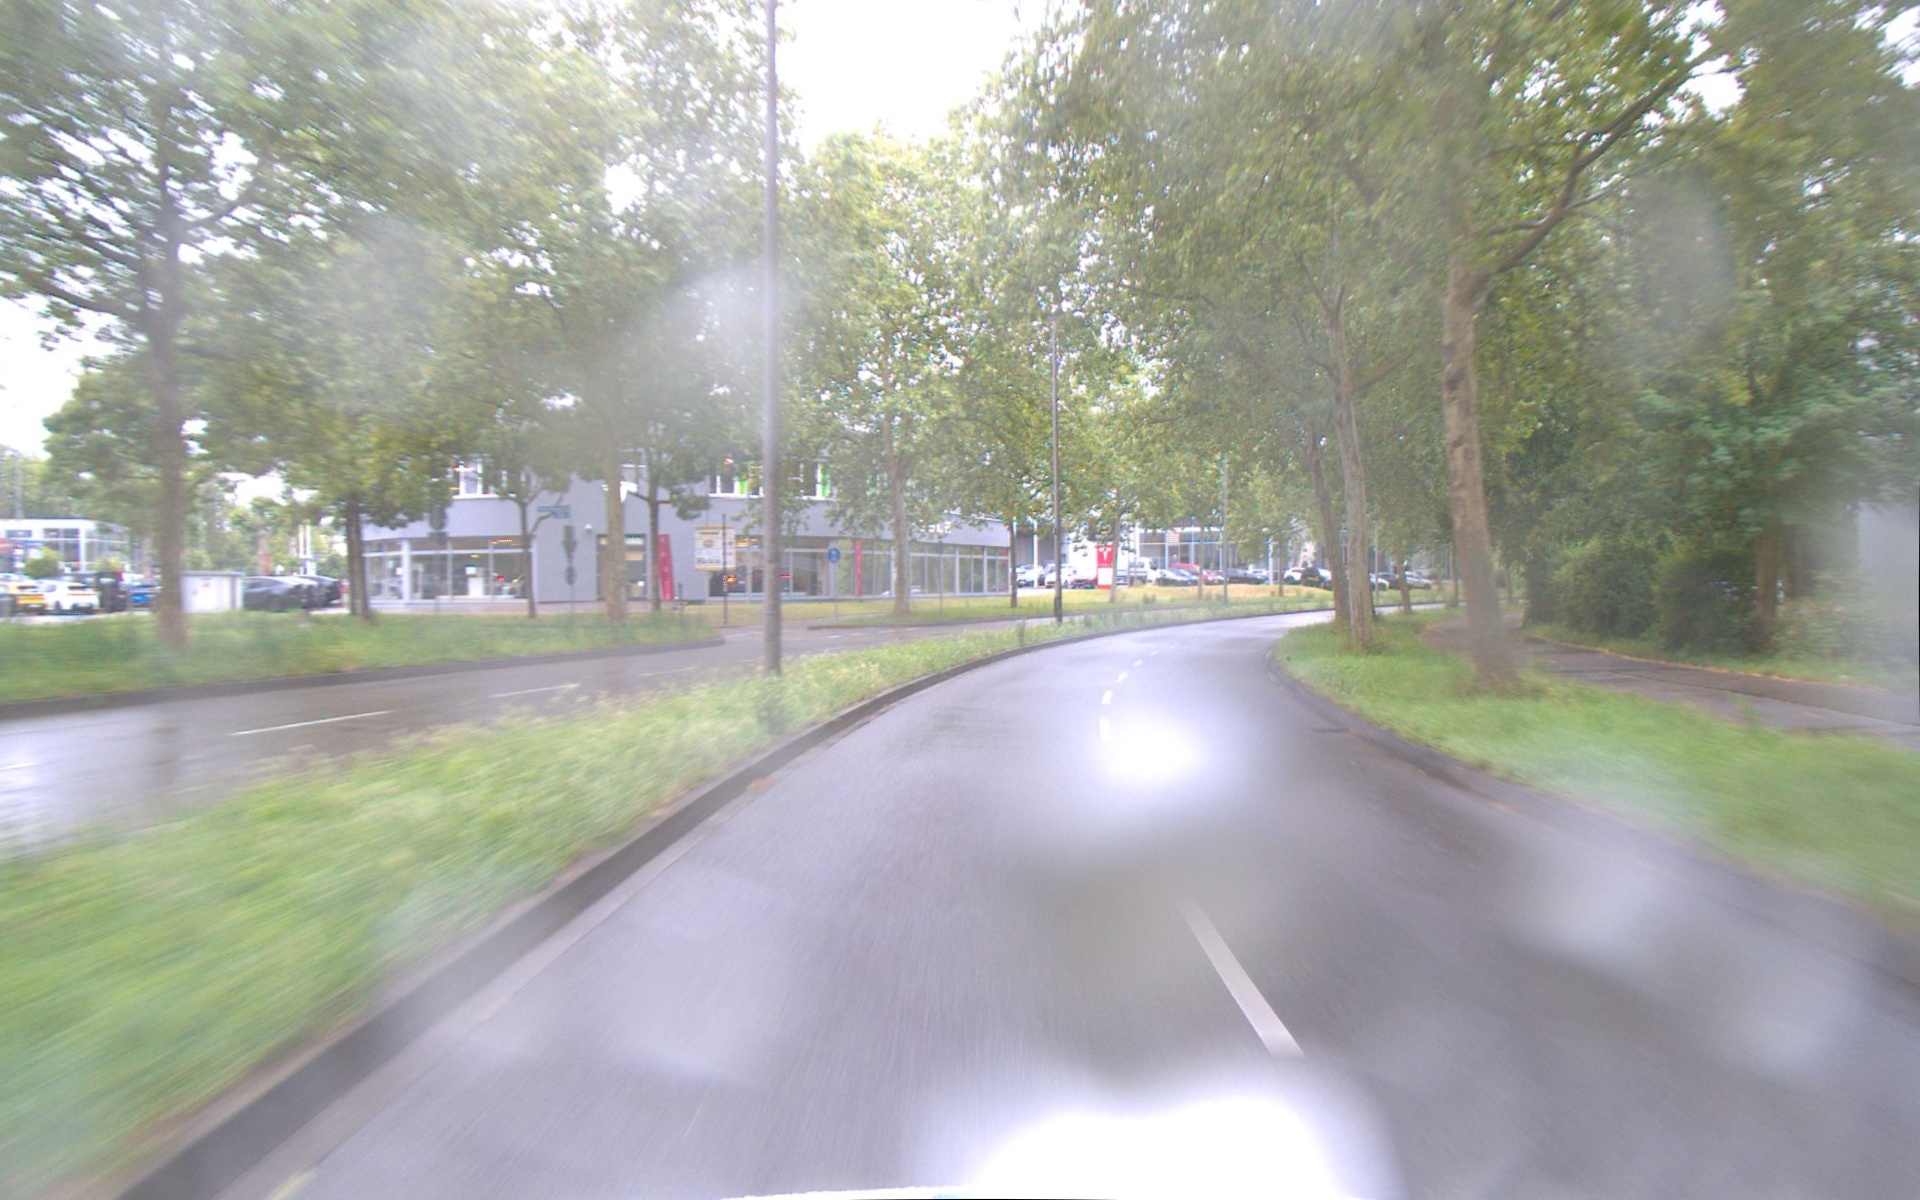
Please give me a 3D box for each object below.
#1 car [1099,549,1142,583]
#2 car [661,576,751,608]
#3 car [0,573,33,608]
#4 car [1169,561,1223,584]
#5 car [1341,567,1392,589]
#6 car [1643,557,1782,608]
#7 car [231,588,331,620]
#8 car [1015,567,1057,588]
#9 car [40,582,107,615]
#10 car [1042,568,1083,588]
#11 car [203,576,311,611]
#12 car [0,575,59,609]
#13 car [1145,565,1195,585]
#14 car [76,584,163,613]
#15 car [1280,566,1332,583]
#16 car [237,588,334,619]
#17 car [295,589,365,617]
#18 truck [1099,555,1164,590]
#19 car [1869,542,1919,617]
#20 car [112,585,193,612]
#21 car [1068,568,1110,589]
[{"bbox_3d":[14.077,-3.006,145.354,2.127,2.800,5.320,1,2,-14],"label":"car"},{"bbox_3d":[-12.141,-0.401,78.971,4.110,1.520,1.596,0,0,28],"label":"car"},{"bbox_3d":[-42.918,-0.415,73.166,4.123,1.520,1.877,1,1,38],"label":"car"},{"bbox_3d":[19.196,-2.241,134.419,3.927,1.583,1.842,4,4,34],"label":"car"},{"bbox_3d":[36.983,-1.997,150.460,4.037,1.503,1.847,5,6,-6],"label":"car"},{"bbox_3d":[25.424,-0.578,55.986,3.902,1.680,1.927,0,0,7],"label":"car"},{"bbox_3d":[-32.285,0.174,78.702,4.107,1.520,1.597,0,0,-2],"label":"car"},{"bbox_3d":[6.055,-1.798,131.314,1.729,1.421,4.153,2,3,27],"label":"car"},{"bbox_3d":[-42.020,-0.087,78.334,4.132,1.520,1.588,1,1,43],"label":"car"},{"bbox_3d":[8.087,-1.751,130.208,1.729,1.421,4.153,2,3,27],"label":"car"},{"bbox_3d":[-31.119,-0.291,73.266,4.107,1.520,1.597,0,0,-2],"label":"car"},{"bbox_3d":[-42.703,-0.360,75.741,3.015,1.520,1.590,1,1,40],"label":"car"},{"bbox_3d":[16.543,-1.997,130.177,3.462,1.349,1.763,4,4,34],"label":"car"},{"bbox_3d":[-43.817,-0.088,86.270,3.685,1.520,1.597,0,0,-2],"label":"car"},{"bbox_3d":[31.569,-2.359,150.981,4.342,1.499,1.915,1,2,32],"label":"car"},{"bbox_3d":[-33.379,0.172,81.925,4.107,1.520,1.597,0,0,-2],"label":"car"},{"bbox_3d":[-34.434,0.176,90.453,3.239,1.520,1.597,0,0,-2],"label":"car"},{"bbox_3d":[13.185,-2.130,126.892,2.209,2.384,6.175,4,4,34],"label":"truck"},{"bbox_3d":[22.715,-0.485,38.306,1.725,1.609,4.162,1,3,12],"label":"car"},{"bbox_3d":[-44.951,-0.086,92.107,3.685,1.520,1.597,0,0,-2],"label":"car"},{"bbox_3d":[10.011,-1.690,128.145,1.729,1.492,4.153,2,3,27],"label":"car"}]
